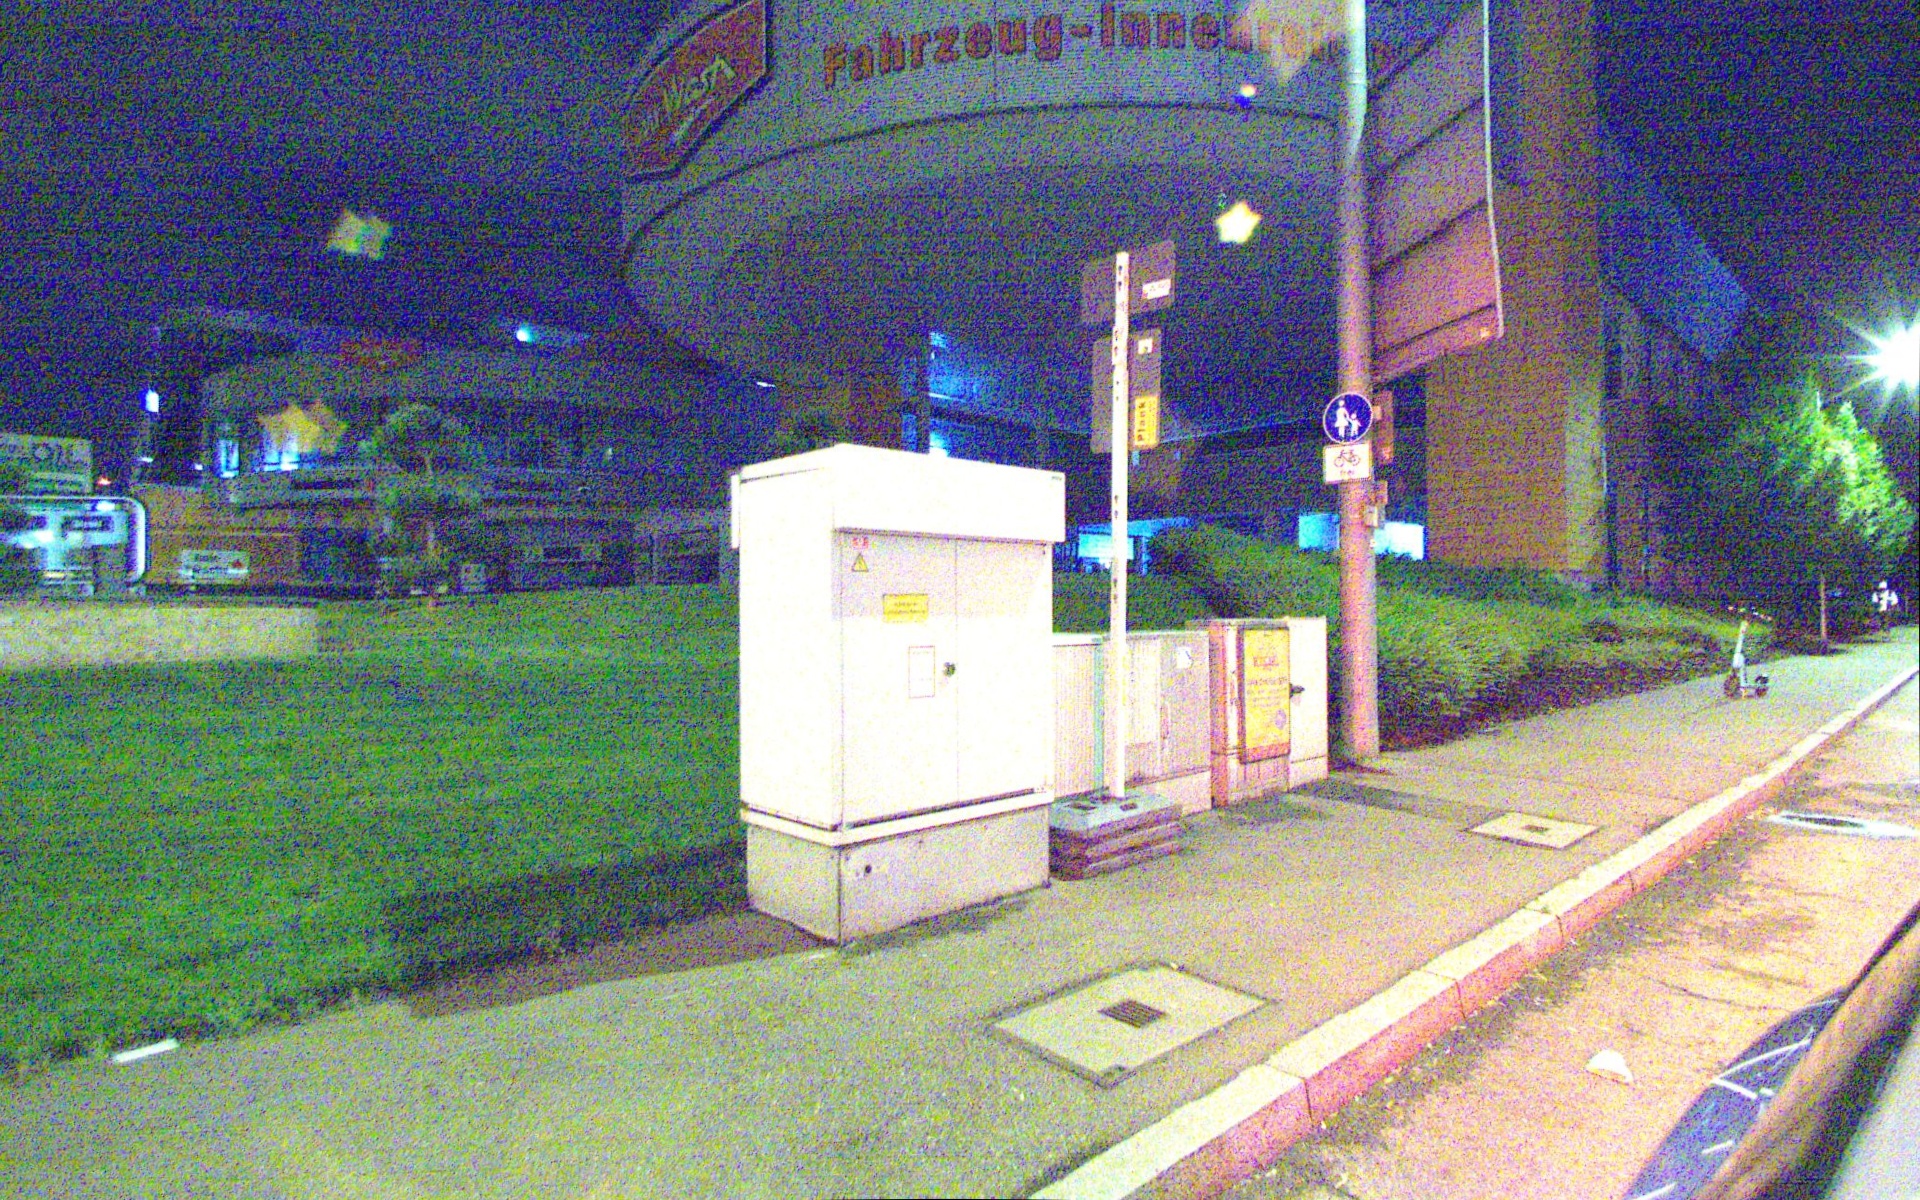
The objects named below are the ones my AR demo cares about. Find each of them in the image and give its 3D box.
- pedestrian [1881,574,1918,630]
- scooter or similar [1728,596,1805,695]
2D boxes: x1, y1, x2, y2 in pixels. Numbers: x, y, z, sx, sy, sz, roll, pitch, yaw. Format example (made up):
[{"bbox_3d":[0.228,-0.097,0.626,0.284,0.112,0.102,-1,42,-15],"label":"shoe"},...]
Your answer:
[{"bbox_3d":[31.381,0.072,33.812,0.597,1.842,0.824,-1,0,-40],"label":"pedestrian"},{"bbox_3d":[11.238,0.604,14.090,1.367,1.295,0.569,0,1,-41],"label":"scooter or similar"}]
